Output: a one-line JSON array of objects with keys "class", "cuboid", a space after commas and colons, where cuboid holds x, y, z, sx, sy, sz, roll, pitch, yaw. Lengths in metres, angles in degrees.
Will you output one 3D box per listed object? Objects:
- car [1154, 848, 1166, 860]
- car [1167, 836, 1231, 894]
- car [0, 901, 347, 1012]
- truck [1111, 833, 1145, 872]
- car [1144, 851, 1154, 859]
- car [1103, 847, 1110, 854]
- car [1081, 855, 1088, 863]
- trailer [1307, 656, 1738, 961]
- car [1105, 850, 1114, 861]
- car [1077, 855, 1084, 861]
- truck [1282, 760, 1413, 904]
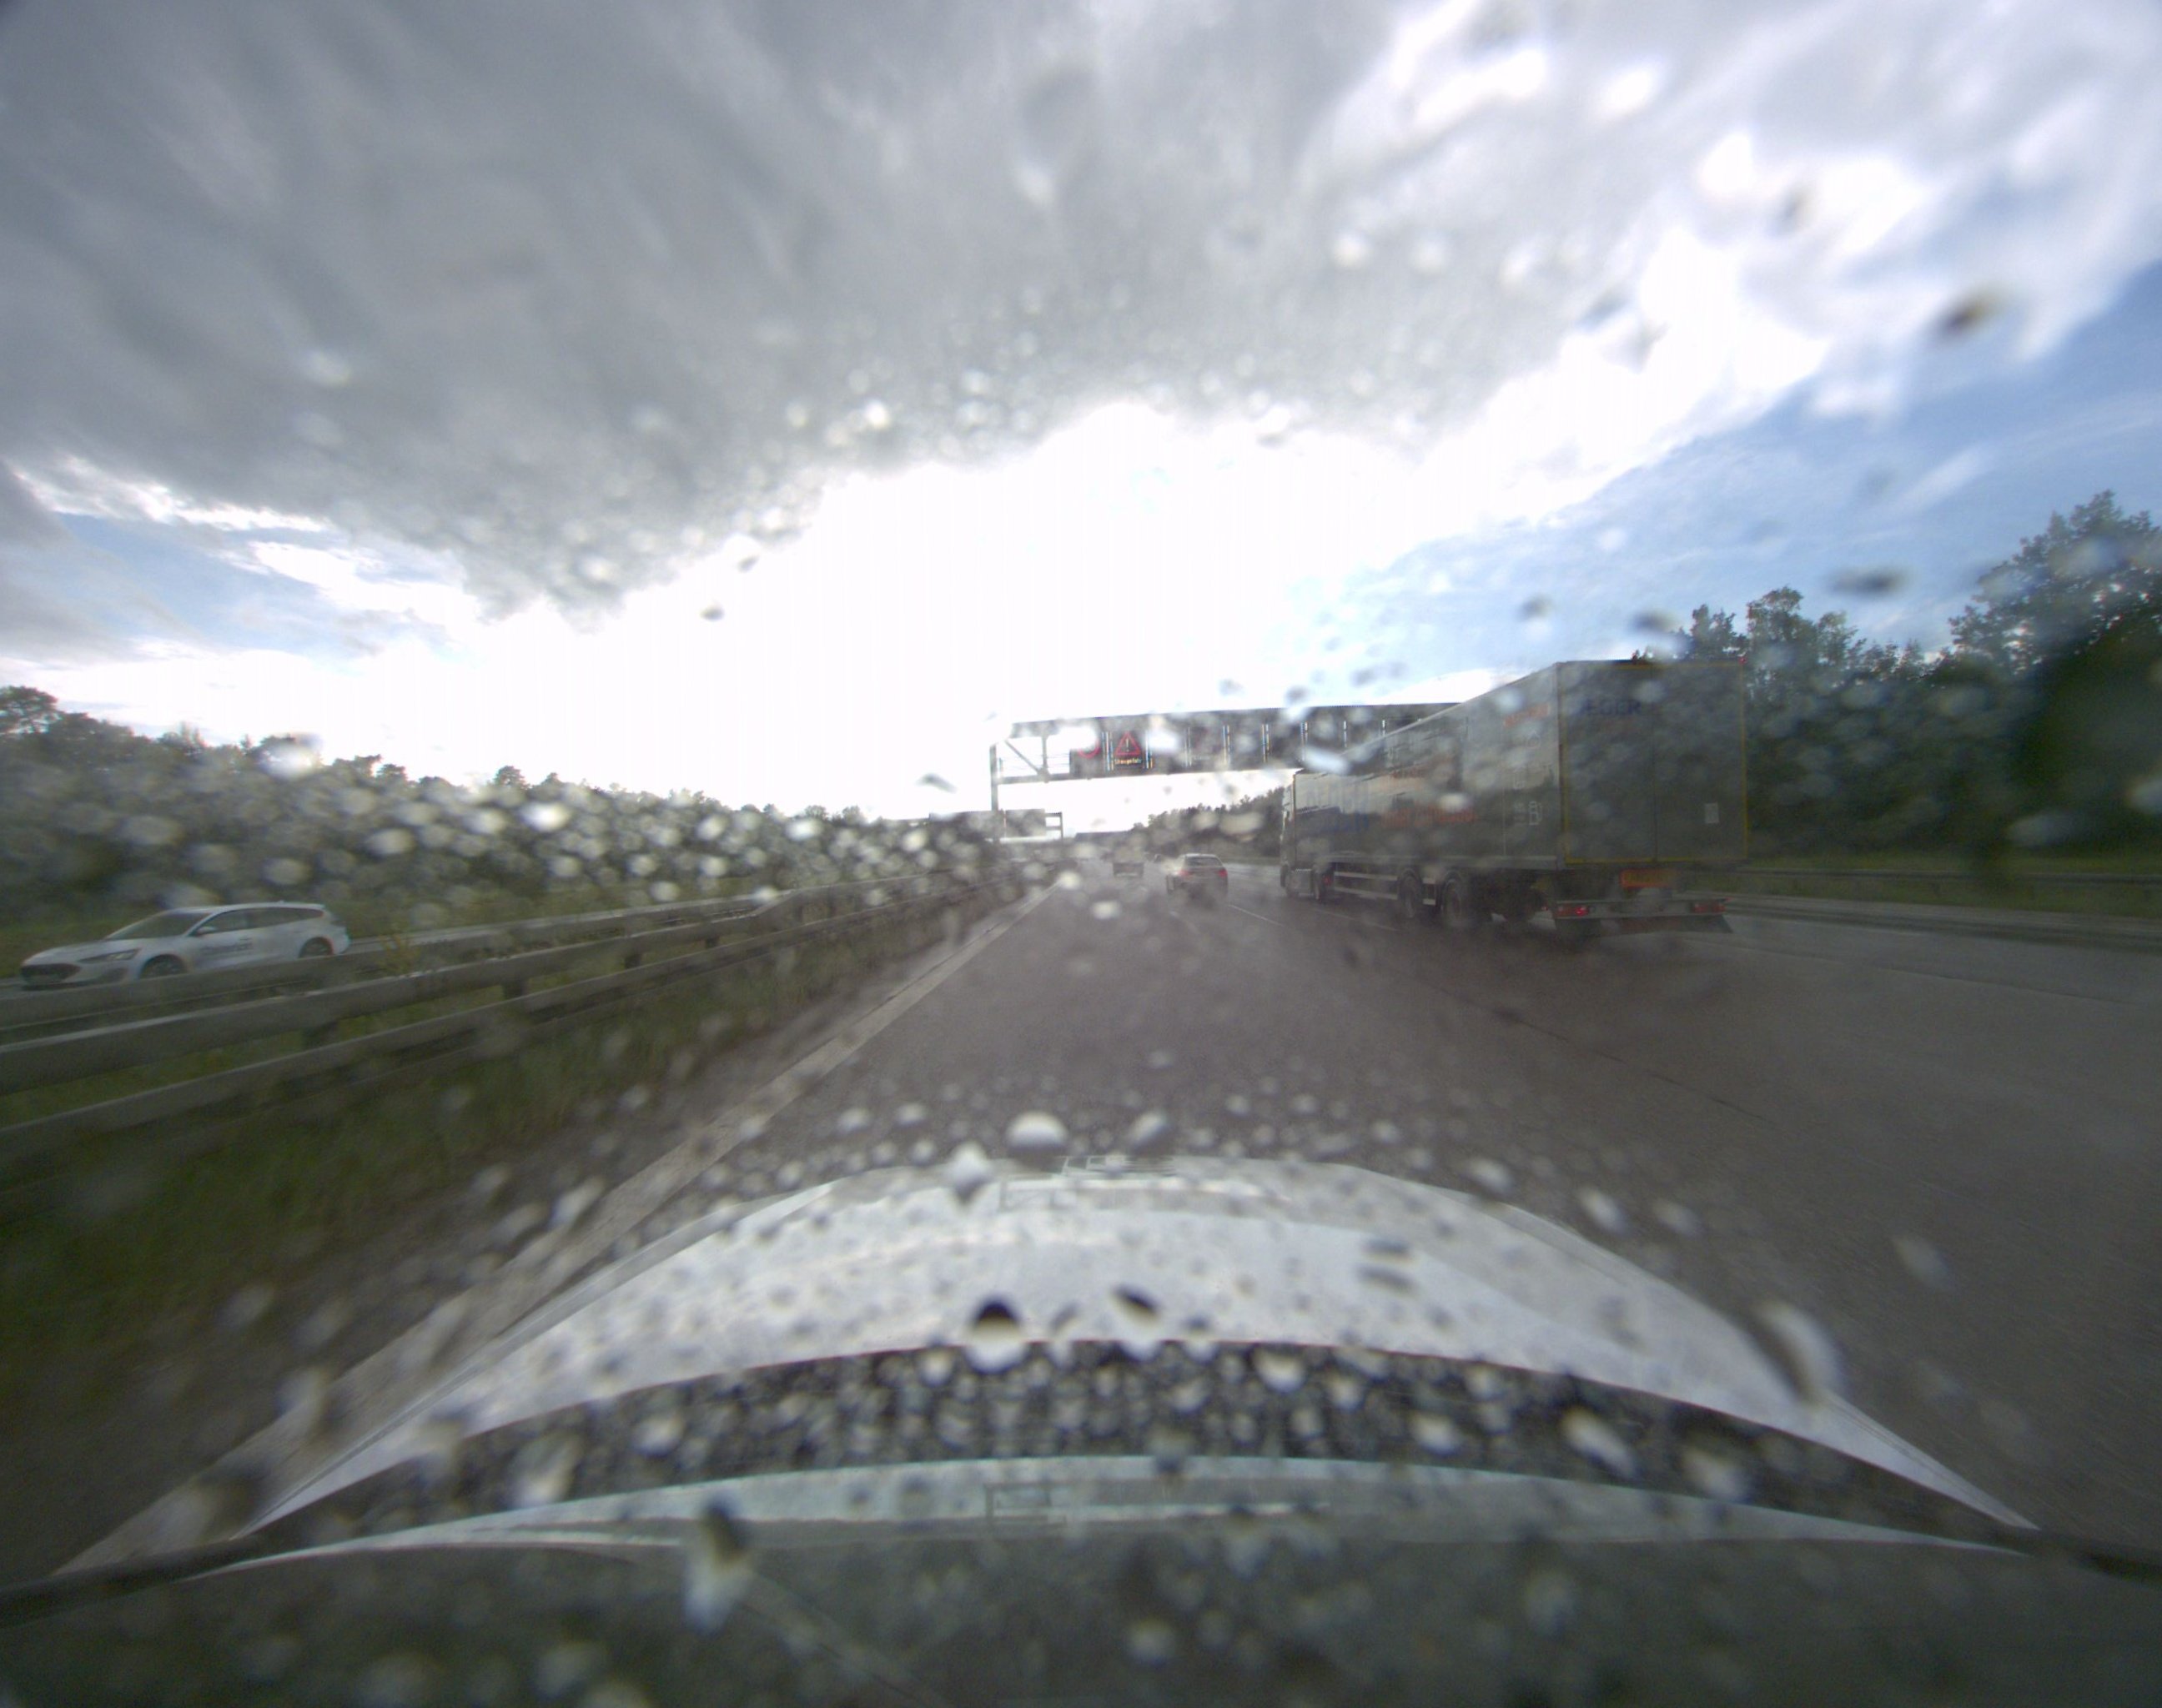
[{"class": "car", "cuboid": [13.453, 0.031, 139.485, 1.984, 2.013, 4.006, 0, 0, 5]}, {"class": "car", "cuboid": [4.270, 0.372, 29.614, 2.066, 1.885, 5.022, -1, 0, 8]}, {"class": "car", "cuboid": [-16.642, 1.776, 15.206, 1.843, 1.445, 4.321, -3, 0, 1]}, {"class": "truck", "cuboid": [3.228, -0.116, 54.703, 2.128, 2.489, 5.319, -1, 0, 4]}, {"class": "car", "cuboid": [14.000, 0.243, 167.788, 1.734, 1.688, 4.002, -1, 0, 2]}, {"class": "car", "cuboid": [8.044, -1.086, 256.601, 1.986, 2.013, 4.002, 0, 0, 2]}, {"class": "car", "cuboid": [0.912, 1.226, 210.694, 1.611, 2.013, 4.001, 0, 0, 1]}, {"class": "trailer", "cuboid": [7.702, -0.608, 17.503, 2.315, 4.001, 13.417, -1, 0, 2]}, {"class": "car", "cuboid": [5.185, 0.296, 149.120, 1.668, 2.013, 4.001, 0, 0, 1]}, {"class": "car", "cuboid": [-0.146, 1.341, 258.029, 1.787, 2.013, 4.003, 0, 0, 3]}, {"class": "truck", "cuboid": [7.920, -0.597, 24.851, 2.285, 3.868, 5.394, -1, 0, 2]}]
